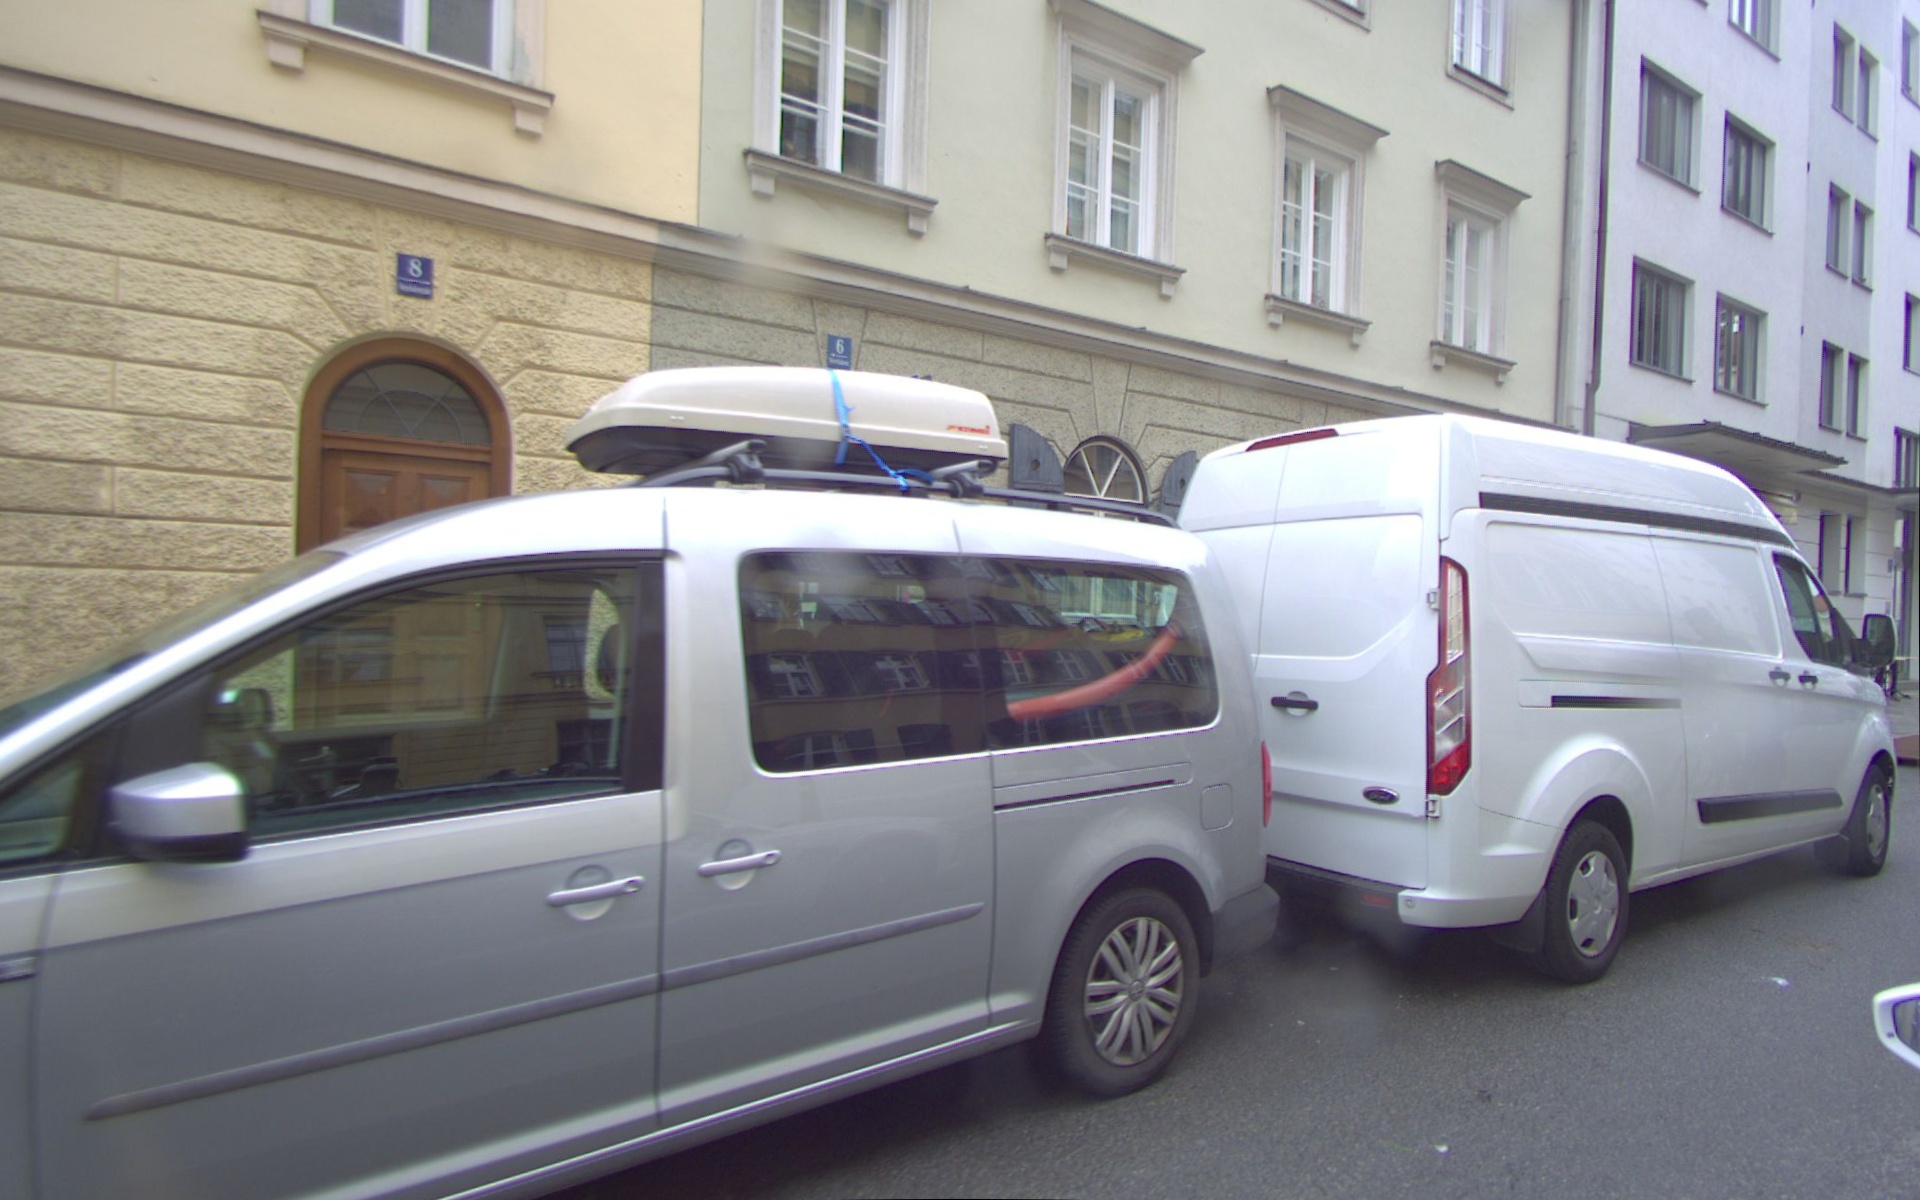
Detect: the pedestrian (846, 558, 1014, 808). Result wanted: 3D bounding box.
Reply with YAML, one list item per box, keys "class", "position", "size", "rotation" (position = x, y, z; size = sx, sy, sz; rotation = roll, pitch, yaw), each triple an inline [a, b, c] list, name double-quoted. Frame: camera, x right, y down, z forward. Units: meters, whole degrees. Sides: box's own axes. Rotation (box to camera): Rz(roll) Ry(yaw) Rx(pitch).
- class: "pedestrian"
  position: [-0.231, 0.583, 7.584]
  size: [1.009, 1.734, 0.802]
  rotation: [1, 0, -30]

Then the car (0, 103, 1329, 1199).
- class: "car"
  position: [-1.047, 0.391, 2.949]
  size: [4.519, 2.231, 1.844]
  rotation: [1, 0, -37]

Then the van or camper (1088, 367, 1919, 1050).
- class: "van or camper"
  position: [3.476, 0.417, 5.744]
  size: [5.417, 2.342, 1.983]
  rotation: [1, 0, -32]
